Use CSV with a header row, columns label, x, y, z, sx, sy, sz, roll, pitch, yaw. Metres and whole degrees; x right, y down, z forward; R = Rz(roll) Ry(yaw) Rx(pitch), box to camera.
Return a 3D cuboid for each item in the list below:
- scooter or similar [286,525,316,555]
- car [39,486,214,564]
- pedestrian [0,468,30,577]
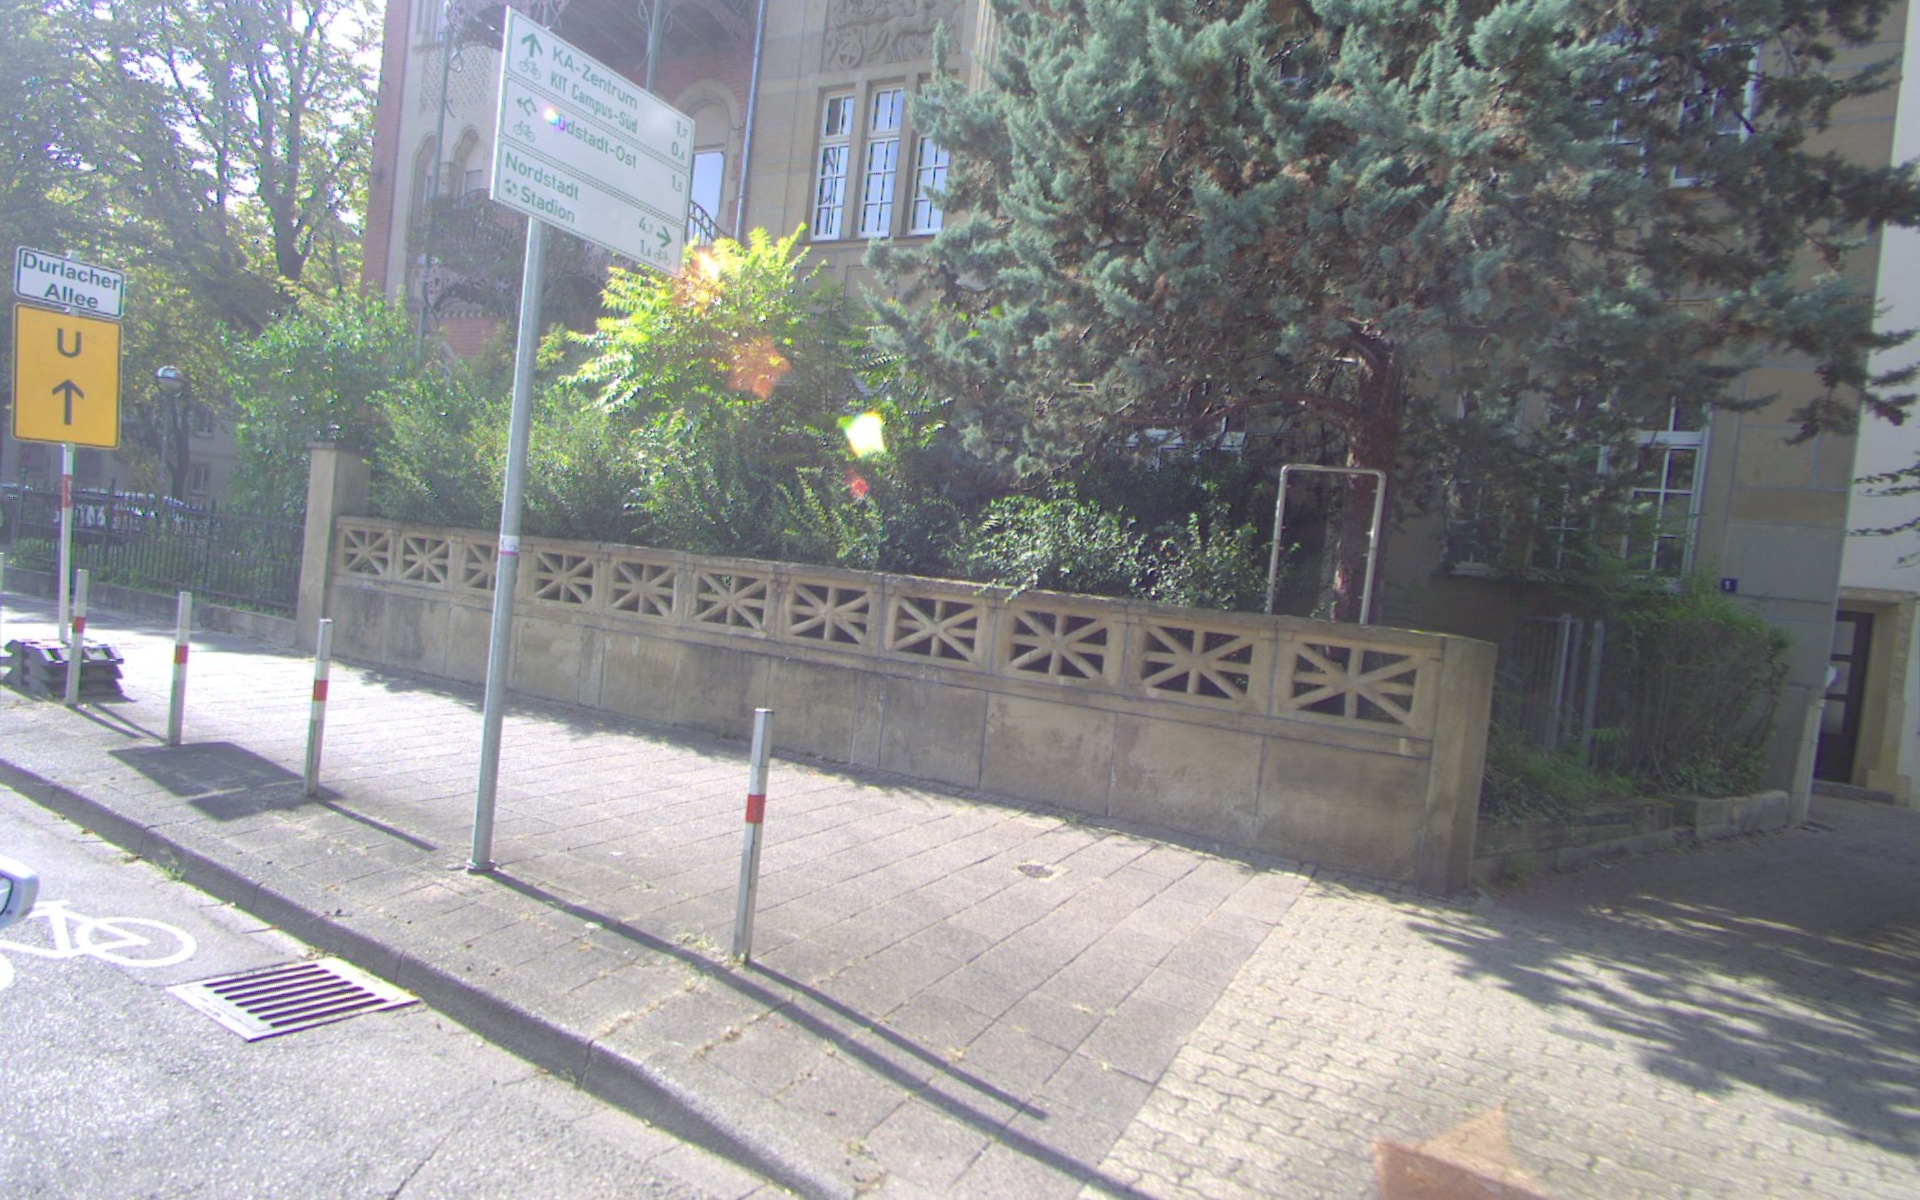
label,x,y,z,sx,sy,sz,roll,pitch,yaw
scooter or similar,-29.008,-2.655,44.306,1.060,1.214,0.455,2,4,-31
car,-21.704,-1.896,26.437,1.970,1.651,4.313,6,1,-18
pedestrian,-15.978,-1.311,16.451,0.757,1.753,0.752,6,1,18
